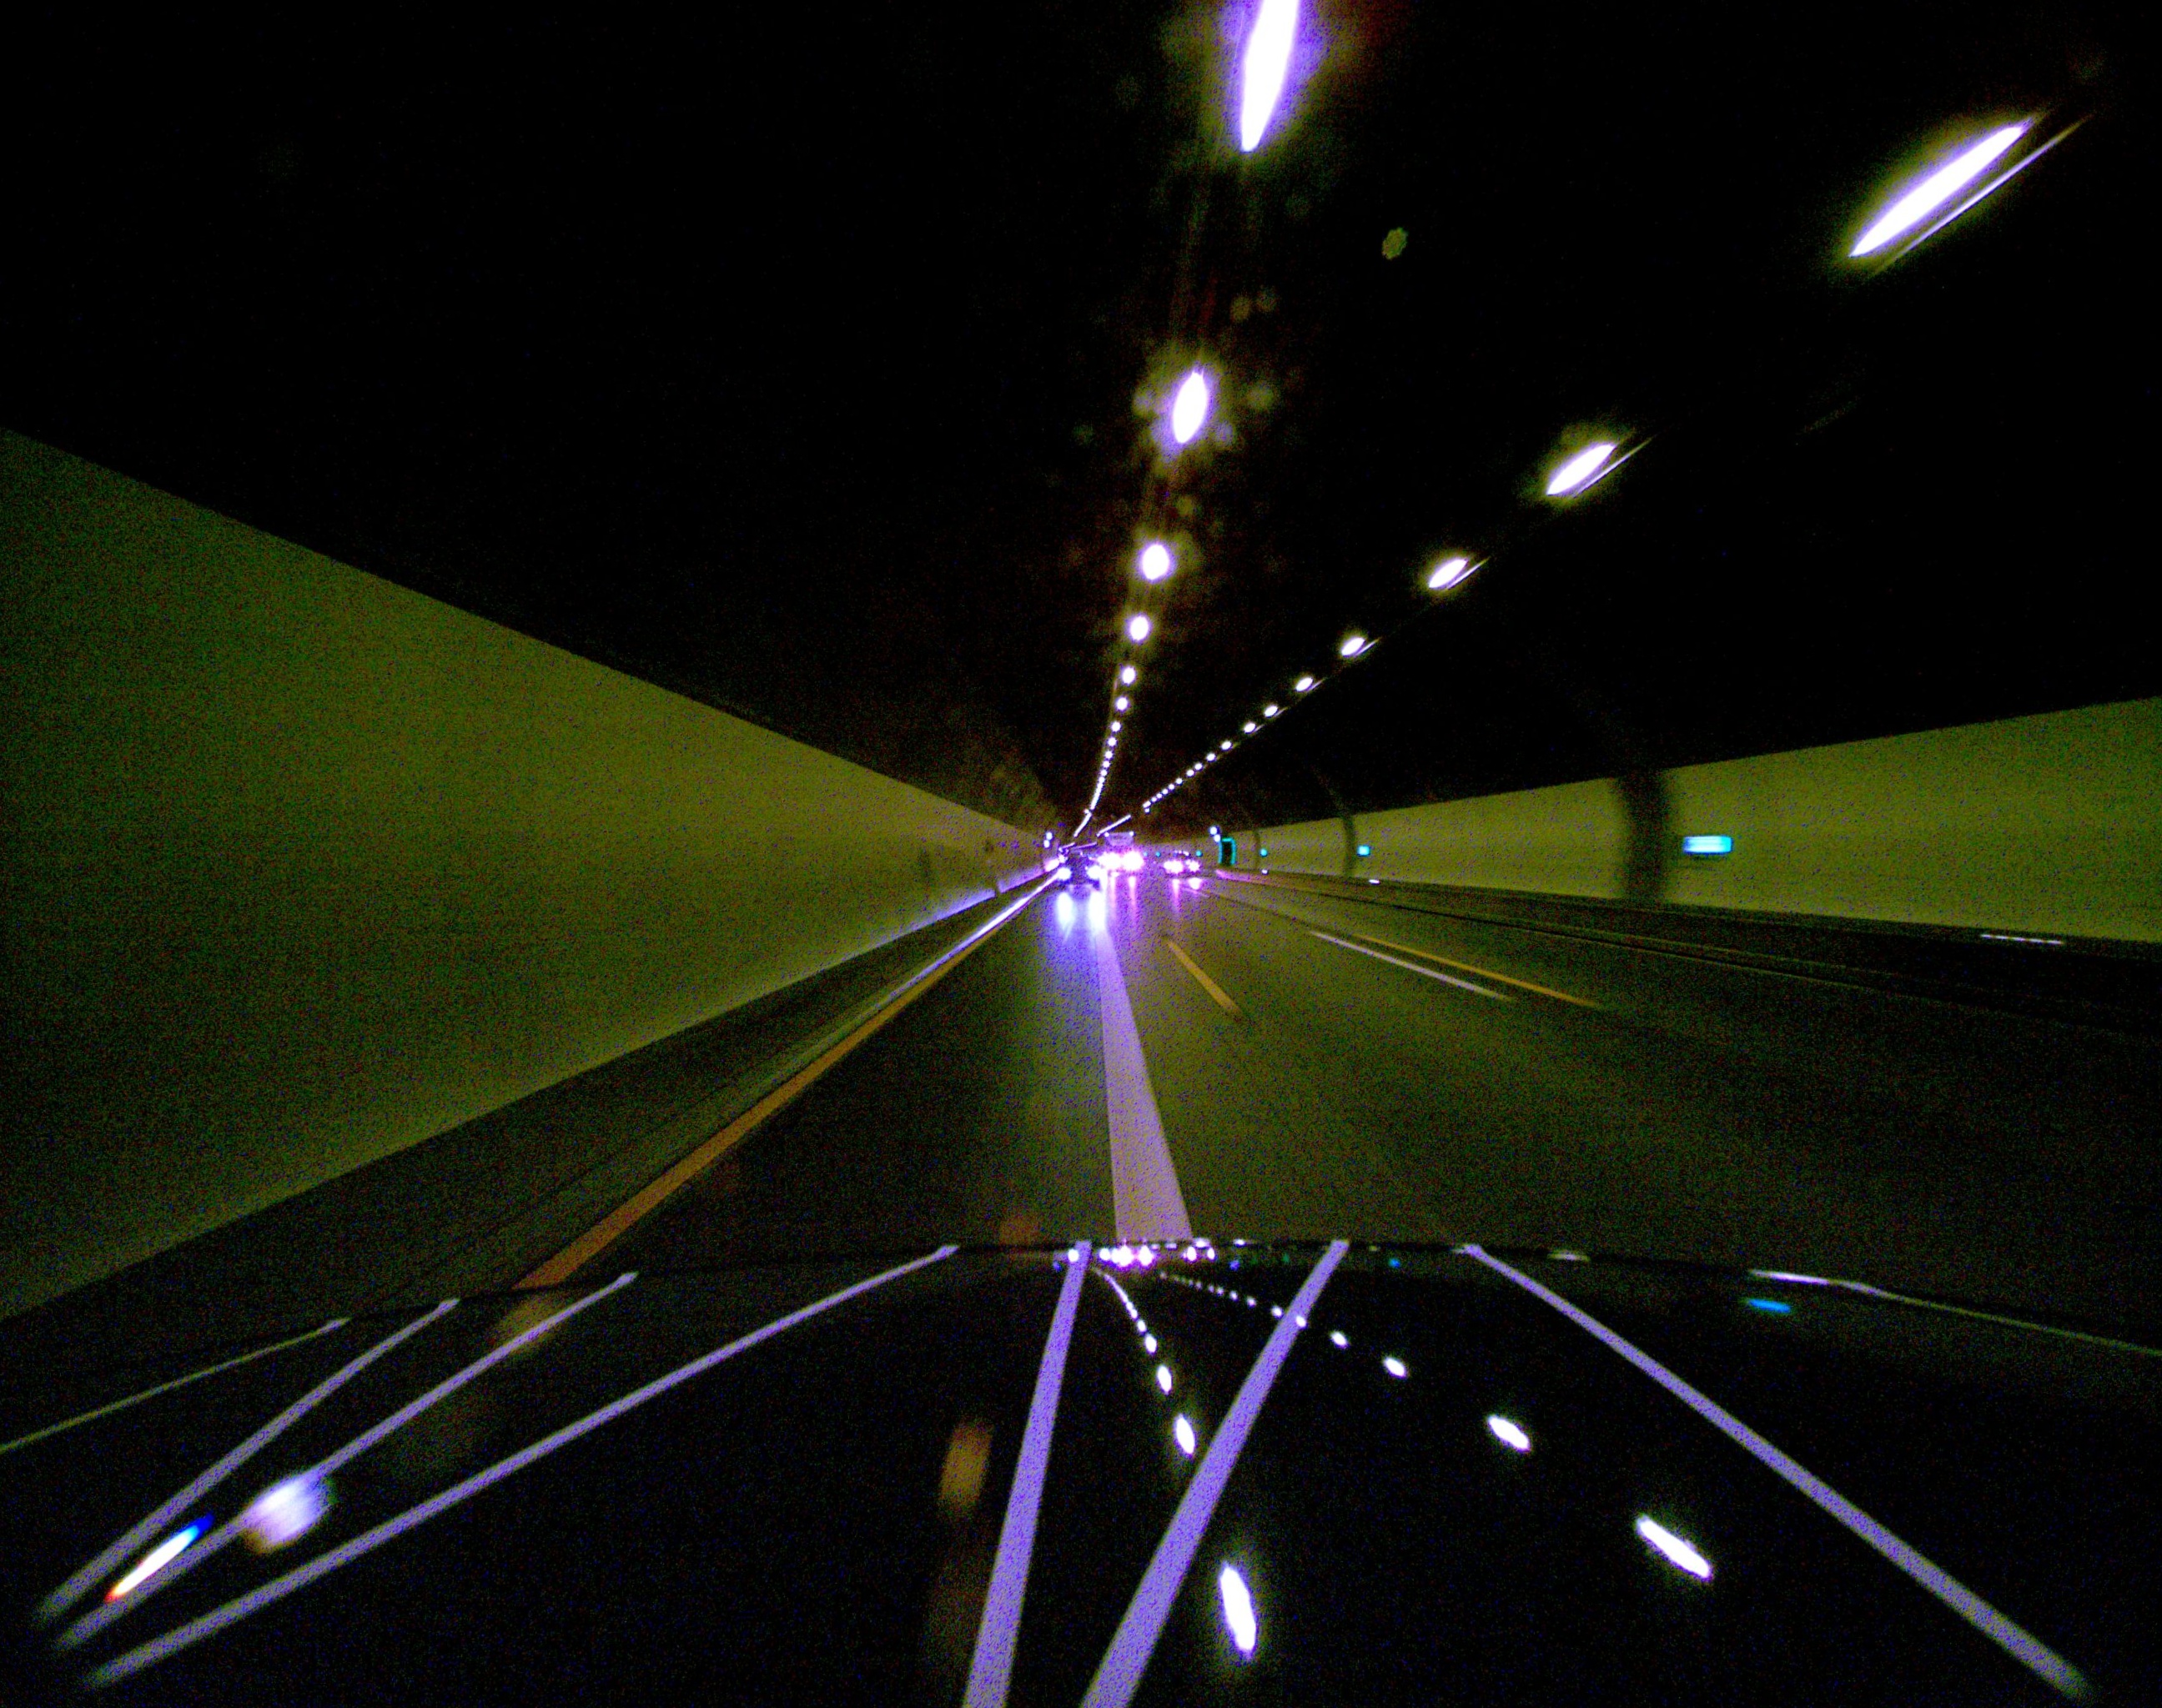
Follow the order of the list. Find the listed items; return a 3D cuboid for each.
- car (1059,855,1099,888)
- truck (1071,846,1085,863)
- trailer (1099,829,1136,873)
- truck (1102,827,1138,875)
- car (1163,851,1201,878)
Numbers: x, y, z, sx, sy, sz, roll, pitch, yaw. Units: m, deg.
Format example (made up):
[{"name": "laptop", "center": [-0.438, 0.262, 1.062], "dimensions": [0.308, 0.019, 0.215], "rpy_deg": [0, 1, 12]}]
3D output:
[{"name": "car", "center": [-0.039, 0.811, 37.198], "dimensions": [1.727, 1.474, 4.000], "rpy_deg": [-1, 0, 2]}, {"name": "truck", "center": [-0.407, 0.142, 123.239], "dimensions": [2.151, 2.609, 9.908], "rpy_deg": [-1, -1, 0]}, {"name": "trailer", "center": [2.904, -0.240, 63.652], "dimensions": [2.374, 3.328, 12.077], "rpy_deg": [0, 0, -1]}, {"name": "truck", "center": [2.926, -0.221, 56.973], "dimensions": [2.374, 3.328, 4.719], "rpy_deg": [-3, 0, 2]}, {"name": "car", "center": [6.271, 0.617, 47.704], "dimensions": [1.766, 1.563, 4.096], "rpy_deg": [-2, 1, -1]}]
